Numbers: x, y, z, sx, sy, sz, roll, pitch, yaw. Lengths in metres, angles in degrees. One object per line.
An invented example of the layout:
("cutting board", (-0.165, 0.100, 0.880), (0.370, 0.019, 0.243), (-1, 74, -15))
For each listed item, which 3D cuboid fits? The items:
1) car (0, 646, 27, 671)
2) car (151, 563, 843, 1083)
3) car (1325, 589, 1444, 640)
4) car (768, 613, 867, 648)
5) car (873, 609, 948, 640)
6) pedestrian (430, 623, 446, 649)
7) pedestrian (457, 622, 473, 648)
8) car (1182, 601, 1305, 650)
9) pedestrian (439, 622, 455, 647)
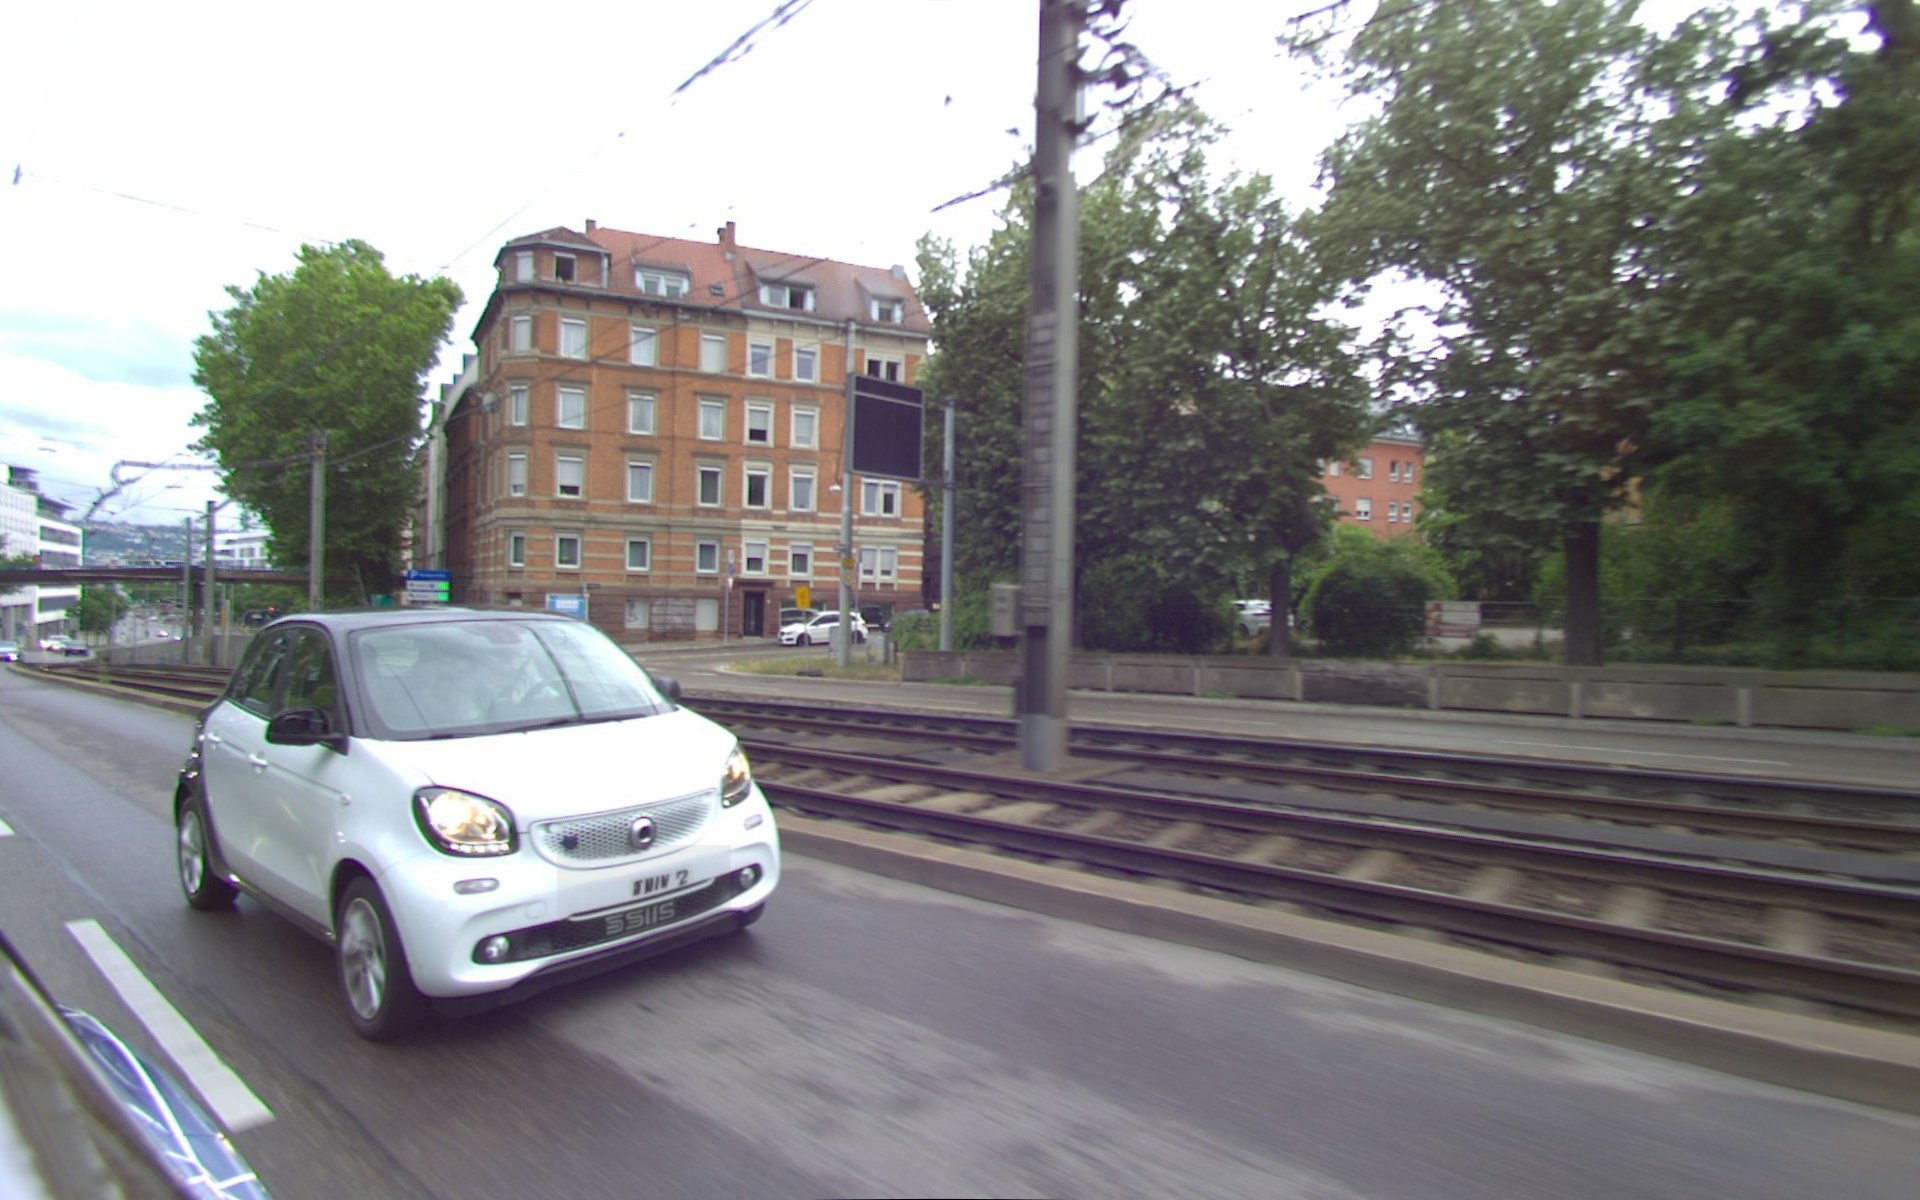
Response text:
("car", (-59.241, 3.618, 62.724), (1.709, 1.386, 4.008), (-1, 0, -38))
("car", (-2.431, 0.706, 4.873), (3.720, 1.542, 1.658), (-2, -2, 41))
("car", (16.946, 0.576, 40.553), (1.966, 1.922, 4.012), (0, -1, -29))
("car", (-6.846, 1.432, 48.632), (4.361, 1.610, 1.847), (0, -1, -26))
("car", (-2.474, 1.197, 50.663), (3.328, 1.477, 1.662), (0, -1, -26))
("pedestrian", (-27.789, 1.917, 53.885), (0.538, 1.364, 0.612), (-1, 0, 41))
("pedestrian", (-26.839, 1.915, 54.900), (0.538, 1.364, 0.612), (0, 1, 41))
("car", (10.113, 0.876, 36.318), (1.966, 1.634, 4.012), (-1, 0, -29))
("pedestrian", (-27.795, 1.872, 54.833), (0.538, 1.364, 0.612), (-1, 0, 41))
